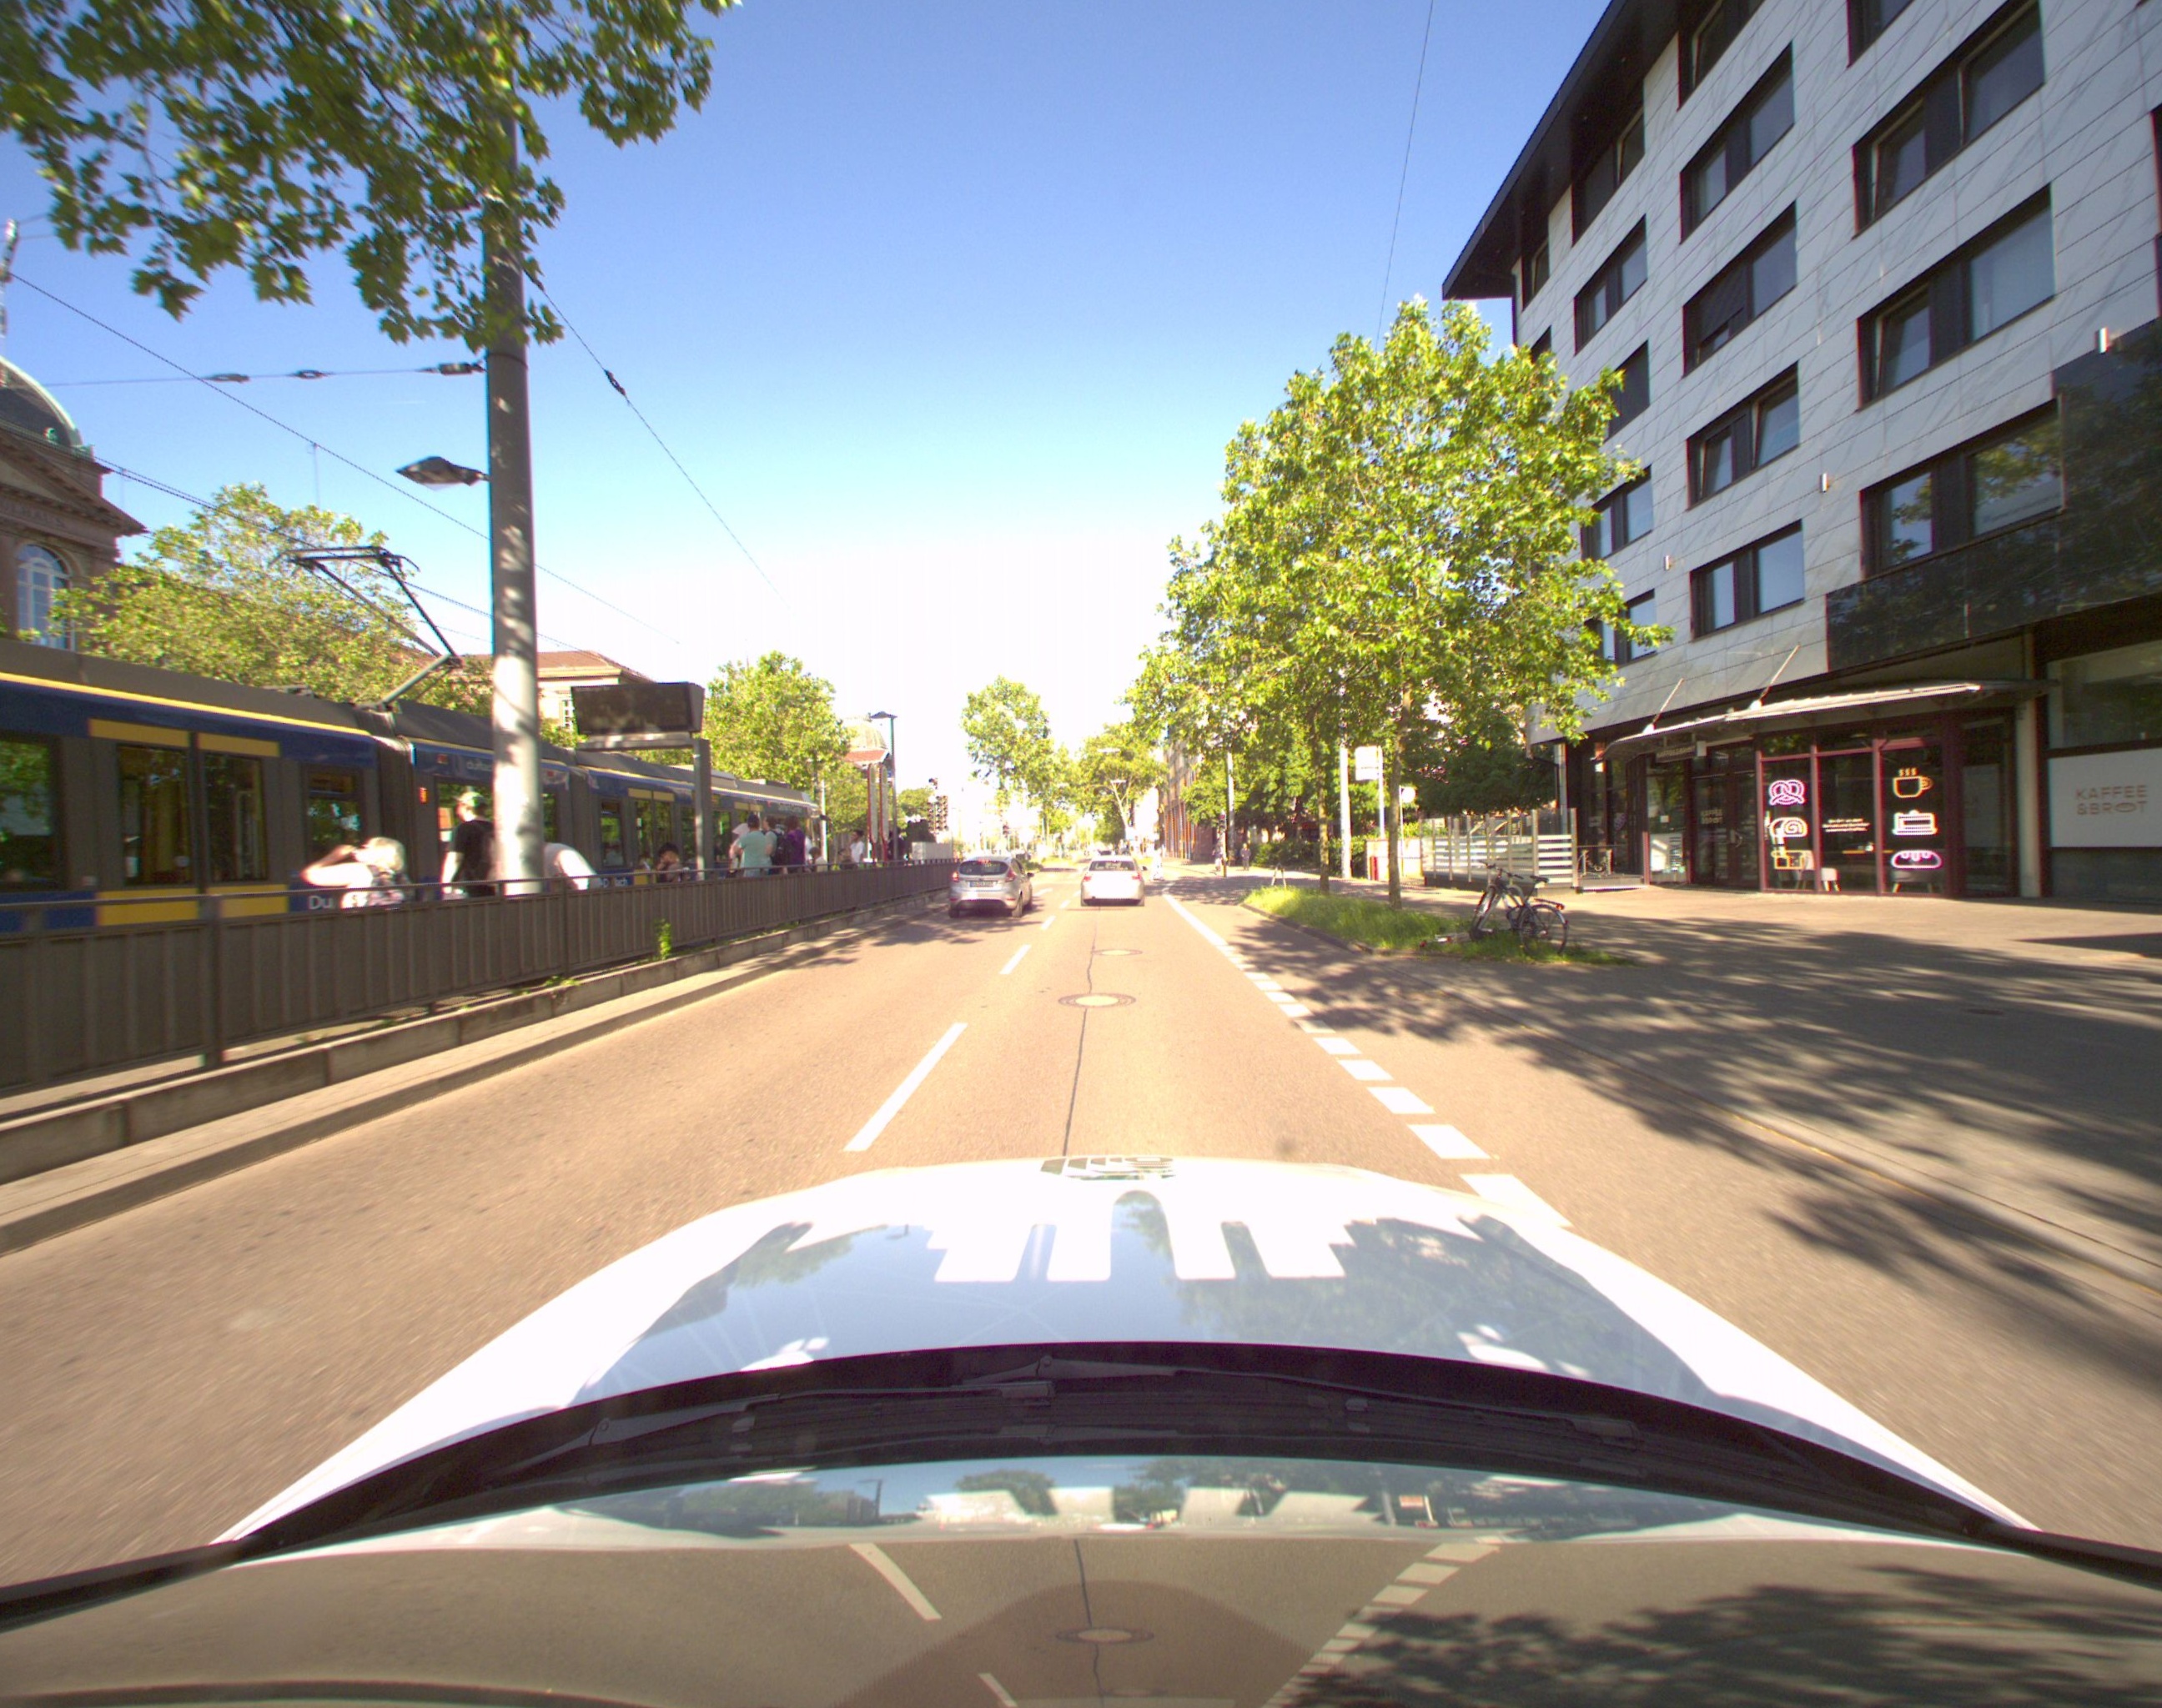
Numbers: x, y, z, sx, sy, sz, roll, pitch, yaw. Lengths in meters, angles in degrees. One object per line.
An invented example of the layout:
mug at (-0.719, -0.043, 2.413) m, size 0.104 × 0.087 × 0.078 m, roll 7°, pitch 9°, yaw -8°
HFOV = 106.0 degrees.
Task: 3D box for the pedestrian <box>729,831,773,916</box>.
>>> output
pedestrian at (-6.114, 0.355, 15.103) m, size 0.543 × 1.519 × 0.531 m, roll -2°, pitch 0°, yaw 1°

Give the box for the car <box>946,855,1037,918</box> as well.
car at (-2.108, 0.736, 20.082) m, size 1.653 × 1.409 × 3.635 m, roll 0°, pitch 0°, yaw 3°

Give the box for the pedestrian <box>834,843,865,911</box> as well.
pedestrian at (-4.594, 0.456, 16.180) m, size 0.414 × 1.316 × 0.507 m, roll -2°, pitch 0°, yaw 0°

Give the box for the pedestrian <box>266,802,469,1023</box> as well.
pedestrian at (-5.251, 0.404, 6.048) m, size 0.773 × 1.509 × 0.751 m, roll -2°, pitch 0°, yaw -2°

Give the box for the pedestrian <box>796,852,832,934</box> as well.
pedestrian at (-5.964, 0.856, 18.240) m, size 0.551 × 1.770 × 0.611 m, roll -2°, pitch 0°, yaw -2°

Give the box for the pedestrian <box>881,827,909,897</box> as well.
pedestrian at (-4.727, 0.208, 20.747) m, size 0.546 × 1.734 × 0.539 m, roll -2°, pitch 0°, yaw -2°

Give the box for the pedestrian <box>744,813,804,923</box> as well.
pedestrian at (-4.883, 0.219, 12.985) m, size 0.658 × 1.696 × 0.571 m, roll -2°, pitch 0°, yaw 3°

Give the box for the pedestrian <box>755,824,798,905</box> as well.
pedestrian at (-6.354, 0.218, 17.029) m, size 0.617 × 1.649 × 0.622 m, roll -2°, pitch 0°, yaw -2°

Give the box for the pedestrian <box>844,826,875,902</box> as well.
pedestrian at (-5.099, 0.230, 18.738) m, size 0.504 × 1.702 × 0.611 m, roll -2°, pitch 0°, yaw -2°

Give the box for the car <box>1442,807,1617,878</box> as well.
car at (15.398, -0.387, 28.176) m, size 4.878 × 1.984 × 1.914 m, roll -4°, pitch 0°, yaw 2°

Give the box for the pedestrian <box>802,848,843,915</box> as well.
pedestrian at (-4.743, 0.495, 14.969) m, size 0.543 × 1.192 × 0.531 m, roll -2°, pitch 0°, yaw 1°

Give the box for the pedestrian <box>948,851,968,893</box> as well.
pedestrian at (-4.643, 0.657, 30.665) m, size 0.629 × 1.557 × 0.646 m, roll -2°, pitch 0°, yaw -3°

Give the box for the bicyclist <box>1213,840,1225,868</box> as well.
bicyclist at (8.409, -0.021, 49.639) m, size 0.654 × 1.657 × 0.767 m, roll -2°, pitch 0°, yaw 10°

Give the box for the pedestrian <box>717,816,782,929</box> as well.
pedestrian at (-4.934, 0.267, 12.134) m, size 0.658 × 1.634 × 0.571 m, roll -2°, pitch 0°, yaw 3°

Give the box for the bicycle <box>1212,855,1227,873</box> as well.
bicycle at (8.441, 0.582, 49.661) m, size 0.826 × 1.041 × 1.880 m, roll -2°, pitch 0°, yaw 11°

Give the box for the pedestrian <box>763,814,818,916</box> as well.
pedestrian at (-4.983, 0.185, 14.009) m, size 0.658 × 1.696 × 0.571 m, roll -2°, pitch 0°, yaw 3°

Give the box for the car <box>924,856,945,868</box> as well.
car at (-21.313, 1.208, 118.701) m, size 1.984 × 1.625 × 4.006 m, roll -1°, pitch 0°, yaw 5°

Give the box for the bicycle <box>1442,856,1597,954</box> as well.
bicycle at (5.672, 0.614, 10.688) m, size 0.788 × 1.133 × 1.839 m, roll -2°, pitch 0°, yaw -11°

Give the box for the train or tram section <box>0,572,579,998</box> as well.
train or tram section at (-9.755, -0.542, 5.078) m, size 2.903 × 3.260 × 15.899 m, roll 0°, pitch -1°, yaw 2°

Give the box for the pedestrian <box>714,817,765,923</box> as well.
pedestrian at (-5.700, 0.259, 13.615) m, size 0.513 × 1.708 × 0.621 m, roll -2°, pitch 0°, yaw 1°

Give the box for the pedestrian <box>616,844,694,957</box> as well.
pedestrian at (-4.924, 0.515, 9.432) m, size 0.532 × 1.246 × 0.604 m, roll -2°, pitch 0°, yaw 0°

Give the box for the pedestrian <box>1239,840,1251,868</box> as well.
pedestrian at (9.726, 0.001, 48.326) m, size 0.622 × 1.629 × 0.948 m, roll -1°, pitch 0°, yaw 17°

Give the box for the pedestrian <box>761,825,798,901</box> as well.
pedestrian at (-6.925, 0.208, 18.728) m, size 0.607 × 1.702 × 0.545 m, roll -2°, pitch 0°, yaw -2°

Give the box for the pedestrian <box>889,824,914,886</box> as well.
pedestrian at (-5.166, 0.020, 23.438) m, size 0.546 × 1.734 × 0.539 m, roll -2°, pitch 0°, yaw -2°

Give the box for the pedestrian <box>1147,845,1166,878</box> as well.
pedestrian at (3.683, 0.372, 39.850) m, size 0.824 × 1.575 × 0.741 m, roll -1°, pitch 0°, yaw 9°

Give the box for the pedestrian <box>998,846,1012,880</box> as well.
pedestrian at (-3.705, 0.448, 39.784) m, size 0.638 × 1.619 × 0.640 m, roll -2°, pitch -2°, yaw -7°

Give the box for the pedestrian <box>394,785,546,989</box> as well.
pedestrian at (-5.585, 0.287, 7.492) m, size 0.773 × 1.752 × 0.723 m, roll -2°, pitch 0°, yaw -2°

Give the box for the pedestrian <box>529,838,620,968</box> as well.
pedestrian at (-5.319, 0.495, 8.575) m, size 0.532 × 1.299 × 0.604 m, roll -2°, pitch 0°, yaw -2°

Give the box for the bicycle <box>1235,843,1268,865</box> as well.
bicycle at (11.142, 0.024, 53.192) m, size 1.987 × 1.314 × 0.574 m, roll -3°, pitch 0°, yaw 4°

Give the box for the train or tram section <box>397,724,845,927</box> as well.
train or tram section at (-9.261, -0.391, 19.594) m, size 2.903 × 3.260 × 13.118 m, roll 0°, pitch -1°, yaw 2°

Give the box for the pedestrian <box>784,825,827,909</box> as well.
pedestrian at (-5.704, 0.263, 16.860) m, size 0.500 × 1.702 × 0.615 m, roll -2°, pitch 0°, yaw 33°

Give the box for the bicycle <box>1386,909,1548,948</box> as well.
bicycle at (5.251, 1.011, 11.219) m, size 1.602 × 0.353 × 1.389 m, roll -2°, pitch 0°, yaw 2°

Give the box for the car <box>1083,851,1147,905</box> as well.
car at (1.048, 0.634, 23.777) m, size 1.722 × 1.390 × 3.844 m, roll 0°, pitch 1°, yaw 4°
